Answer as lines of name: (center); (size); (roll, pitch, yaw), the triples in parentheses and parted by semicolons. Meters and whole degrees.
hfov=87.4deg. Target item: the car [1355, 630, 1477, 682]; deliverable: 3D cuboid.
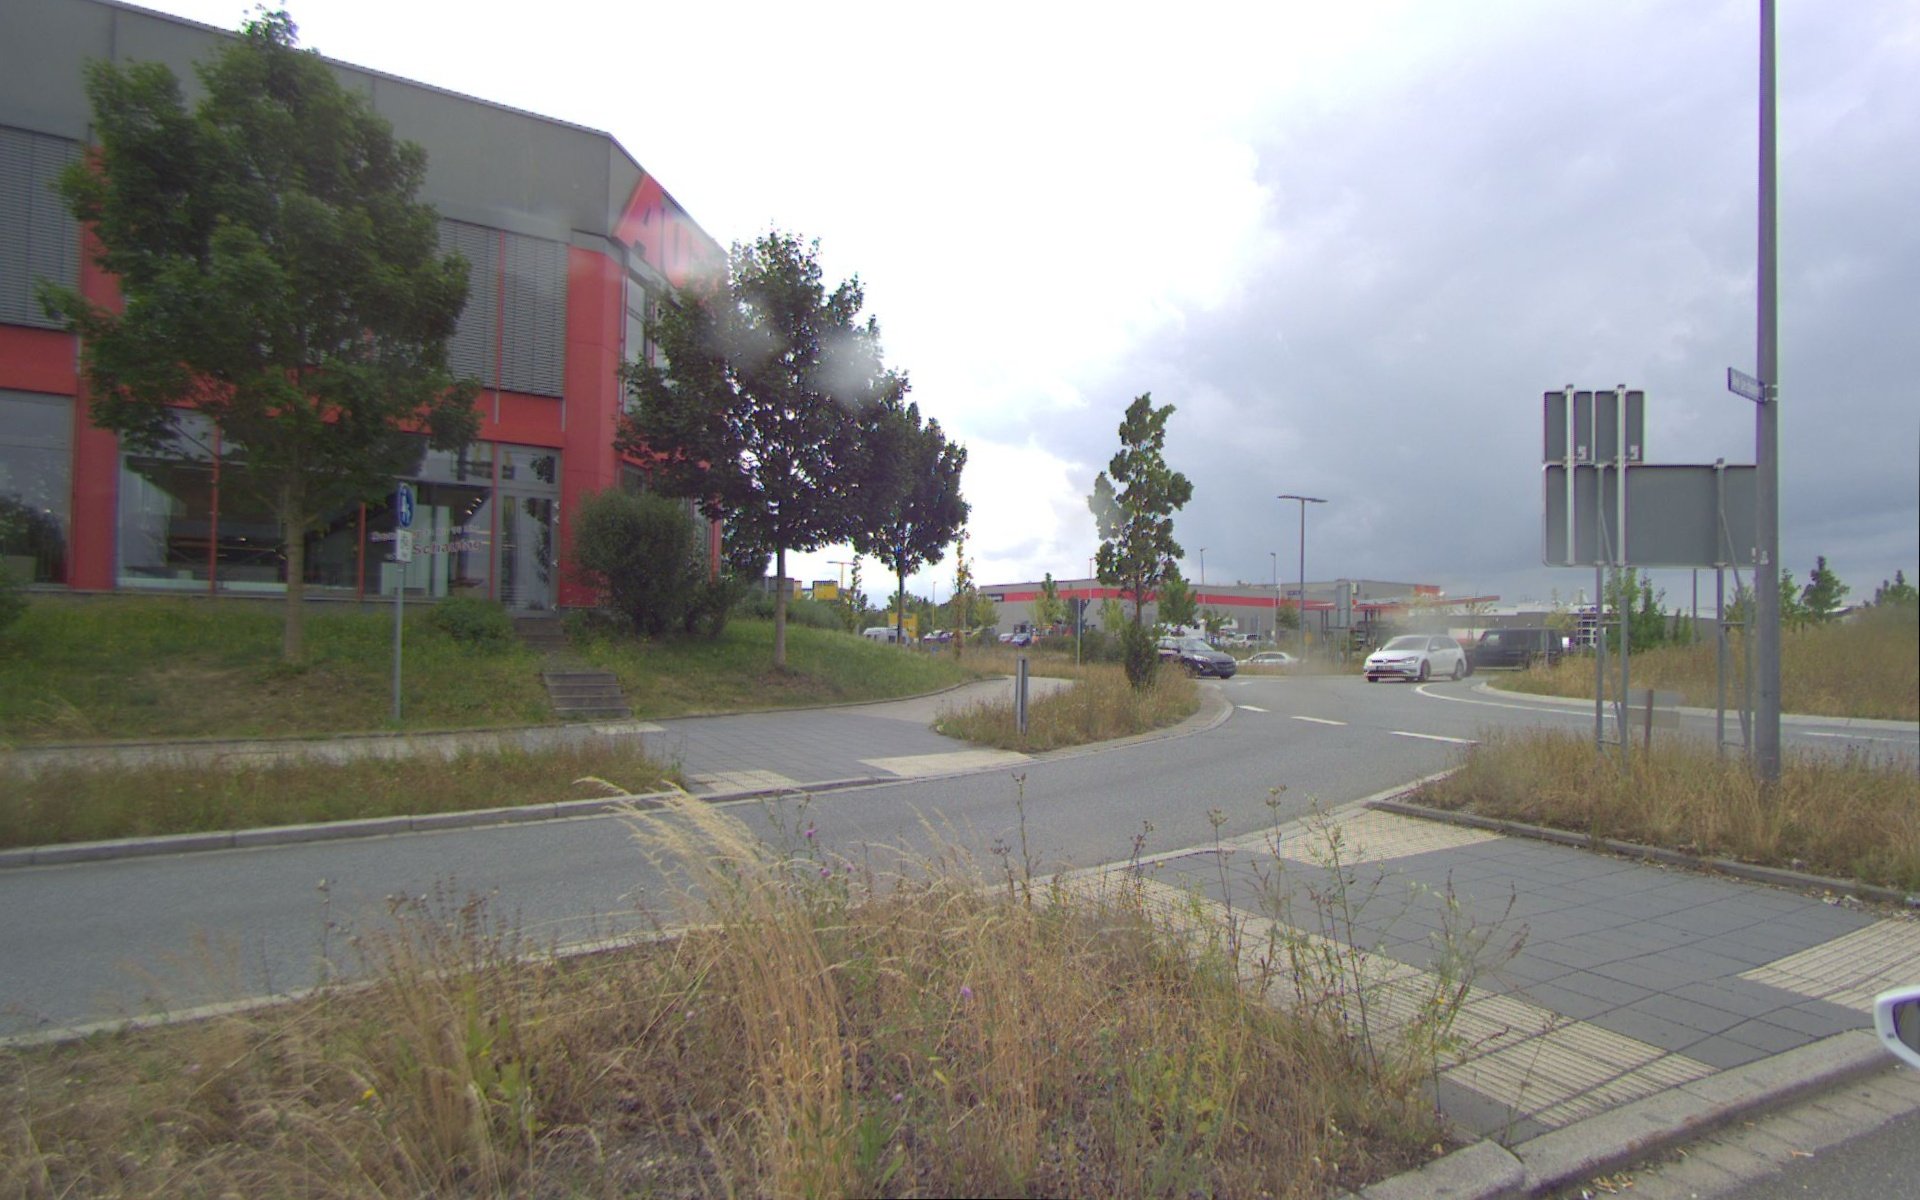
car: (14.385, 1.777, 31.561); (4.609, 1.427, 1.707); (4, -2, -41)

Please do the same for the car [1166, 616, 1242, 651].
car: (23.041, 3.173, 94.745); (7.611, 2.857, 2.447); (4, -1, -34)

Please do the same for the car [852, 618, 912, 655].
car: (-5.833, 2.649, 74.602); (2.253, 2.418, 5.668); (4, -1, -29)

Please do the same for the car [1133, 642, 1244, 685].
car: (8.044, 2.219, 35.553); (1.663, 1.267, 3.554); (4, -1, -39)

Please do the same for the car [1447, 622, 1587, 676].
car: (21.490, 1.861, 38.869); (4.561, 1.776, 1.725); (2, -1, 31)

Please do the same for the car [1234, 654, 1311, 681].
car: (16.824, 3.615, 54.056); (3.684, 1.318, 1.496); (0, -3, 34)
